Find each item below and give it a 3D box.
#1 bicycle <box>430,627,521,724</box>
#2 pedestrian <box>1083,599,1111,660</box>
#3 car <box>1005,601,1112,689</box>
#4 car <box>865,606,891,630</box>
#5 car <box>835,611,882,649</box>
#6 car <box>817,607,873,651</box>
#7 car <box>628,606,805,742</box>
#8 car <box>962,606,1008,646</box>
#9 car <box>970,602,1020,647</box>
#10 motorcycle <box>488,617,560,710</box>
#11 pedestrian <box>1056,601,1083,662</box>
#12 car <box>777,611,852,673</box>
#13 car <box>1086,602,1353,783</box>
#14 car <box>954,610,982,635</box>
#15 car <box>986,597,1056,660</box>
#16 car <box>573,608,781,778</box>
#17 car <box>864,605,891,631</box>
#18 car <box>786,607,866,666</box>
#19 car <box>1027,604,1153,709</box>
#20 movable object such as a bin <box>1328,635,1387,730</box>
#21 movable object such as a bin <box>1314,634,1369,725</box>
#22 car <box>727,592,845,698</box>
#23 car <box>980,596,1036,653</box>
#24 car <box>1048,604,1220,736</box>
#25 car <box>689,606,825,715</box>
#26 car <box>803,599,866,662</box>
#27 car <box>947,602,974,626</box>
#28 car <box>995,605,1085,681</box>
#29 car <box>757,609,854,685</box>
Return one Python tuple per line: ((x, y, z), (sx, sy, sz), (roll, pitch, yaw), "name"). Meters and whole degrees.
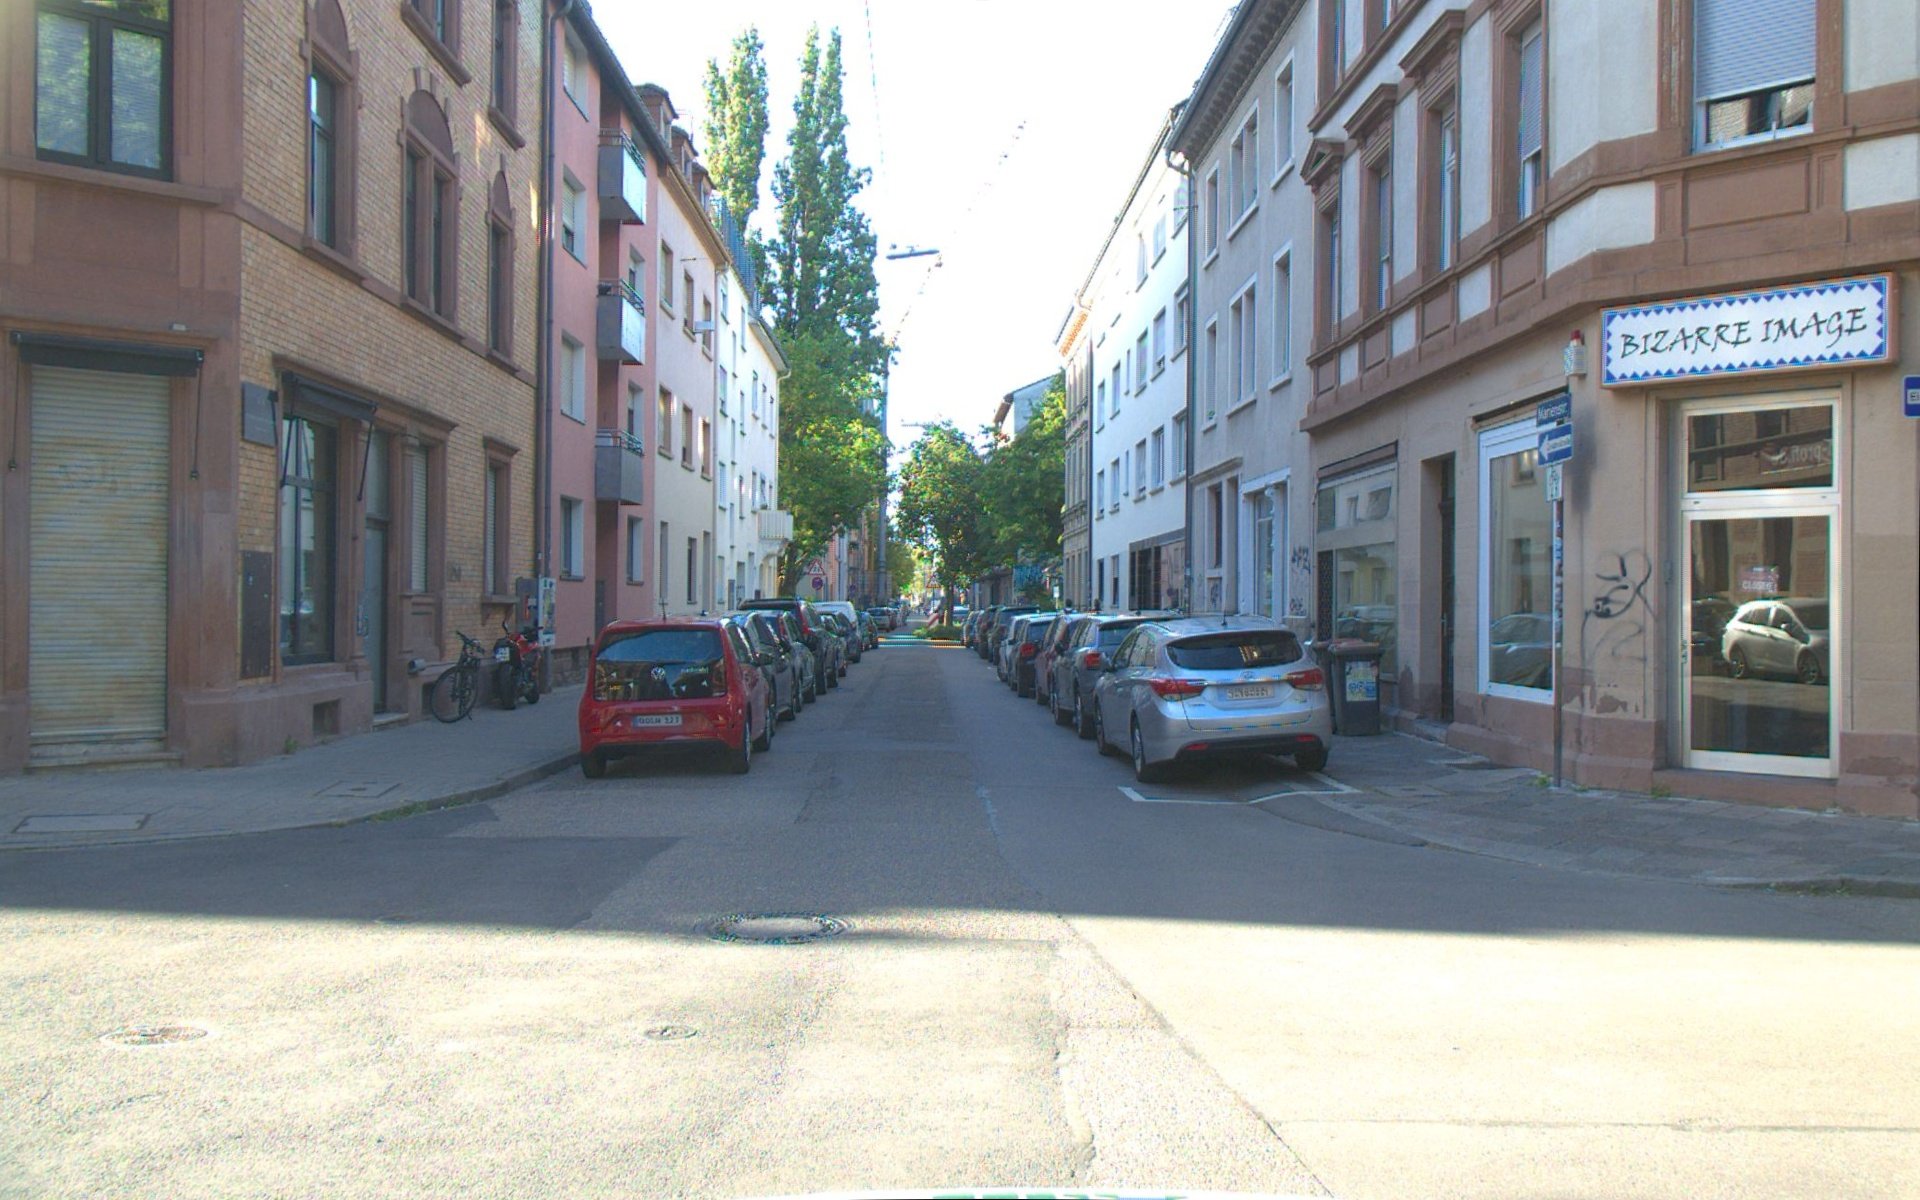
((-6.024, 0.915, 20.655), (0.522, 1.092, 1.890), (4, 0, -1), "bicycle")
((3.814, 0.812, 46.107), (0.672, 1.689, 0.717), (-1, 0, -2), "pedestrian")
((1.826, 0.809, 31.642), (1.642, 1.533, 3.936), (-2, 0, -2), "car")
((-5.473, 1.171, 110.784), (1.642, 1.513, 4.093), (-2, 0, -2), "car")
((-3.944, 1.156, 64.649), (1.636, 1.385, 4.047), (-2, 0, -2), "car")
((-4.137, 1.033, 60.090), (1.635, 1.495, 3.821), (-2, 0, 2), "car")
((-3.089, 0.887, 21.755), (1.660, 1.548, 4.096), (-2, 0, 0), "car")
((0.990, 1.039, 67.901), (1.642, 1.513, 4.093), (-2, 0, -2), "car")
((1.303, 0.904, 63.006), (1.642, 1.588, 3.794), (-2, 0, -2), "car")
((-6.060, 0.857, 23.073), (0.522, 1.227, 1.908), (0, 0, -1), "motorcycle")
((3.056, 0.872, 46.183), (0.672, 1.689, 0.717), (-1, 0, -2), "pedestrian")
((-3.675, 1.036, 42.299), (1.640, 1.412, 4.180), (-2, 0, -2), "car")
((2.449, 0.812, 16.716), (1.709, 1.533, 4.354), (-2, 0, -4), "car")
((0.506, 1.447, 107.040), (1.642, 1.513, 3.636), (-2, 0, -2), "car")
((1.733, 0.808, 48.390), (1.642, 1.655, 4.248), (-4, 0, -2), "car")
((-2.801, 0.864, 17.045), (1.595, 1.507, 3.599), (-2, 0, -2), "car")
((-5.249, 1.128, 105.348), (1.642, 1.513, 4.093), (-2, 0, -2), "car")
((-3.735, 1.003, 46.691), (1.638, 1.512, 3.993), (-2, 0, 4), "car")
((2.061, 0.867, 27.221), (1.566, 1.533, 4.182), (-2, 0, -2), "car")
((4.617, 0.947, 19.224), (0.503, 1.058, 0.619), (-1, 0, -1), "movable object such as a bin")
((4.602, 0.951, 19.978), (0.503, 1.058, 0.594), (-1, 0, -1), "movable object such as a bin")
((-3.285, 0.803, 31.958), (1.708, 1.842, 4.672), (-2, 0, 0), "car")
((1.512, 0.787, 53.250), (1.641, 1.711, 4.094), (-2, -1, 0), "car")
((2.214, 0.851, 22.026), (1.709, 1.533, 4.019), (-2, 0, -2), "car")
((-3.181, 0.907, 26.575), (1.622, 1.548, 3.944), (-2, 0, 0), "car")
((-3.839, 0.898, 51.220), (1.730, 1.816, 4.037), (-2, 0, -2), "car")
((0.025, 0.944, 113.300), (1.642, 1.513, 3.636), (-2, 0, -2), "car")
((1.718, 0.909, 36.720), (1.642, 1.533, 3.936), (-2, 0, -2), "car")
((-3.416, 1.011, 37.276), (1.708, 1.533, 4.346), (-2, 0, 0), "car")
